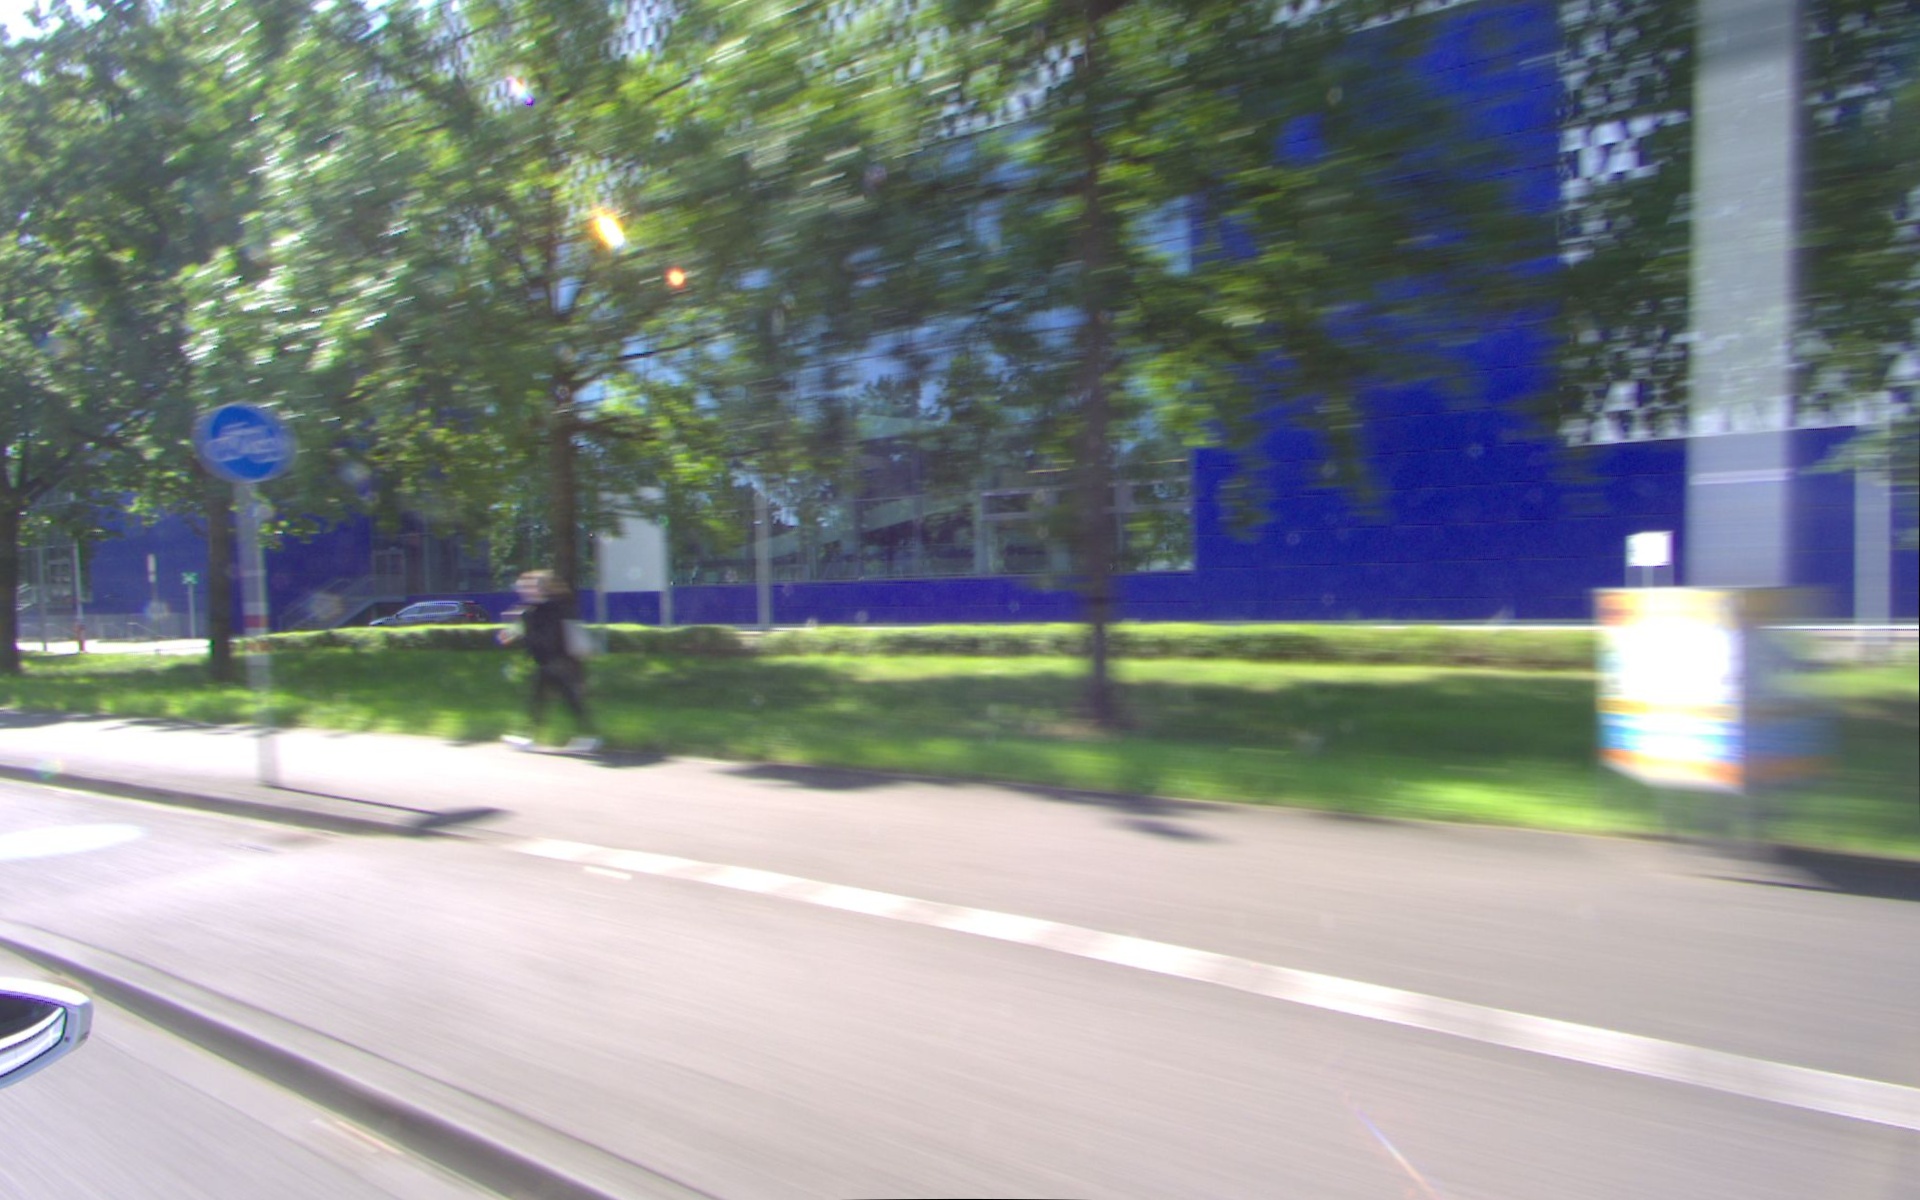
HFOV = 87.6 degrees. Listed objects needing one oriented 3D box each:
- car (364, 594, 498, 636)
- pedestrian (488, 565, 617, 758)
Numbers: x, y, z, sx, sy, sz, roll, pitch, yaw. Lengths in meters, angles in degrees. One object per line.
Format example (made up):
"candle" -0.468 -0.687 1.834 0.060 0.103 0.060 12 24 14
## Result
"car" -20.875 0.593 39.618 4.289 1.540 1.911 -1 1 2
"pedestrian" -3.615 0.519 8.900 0.834 1.625 0.646 0 1 29
